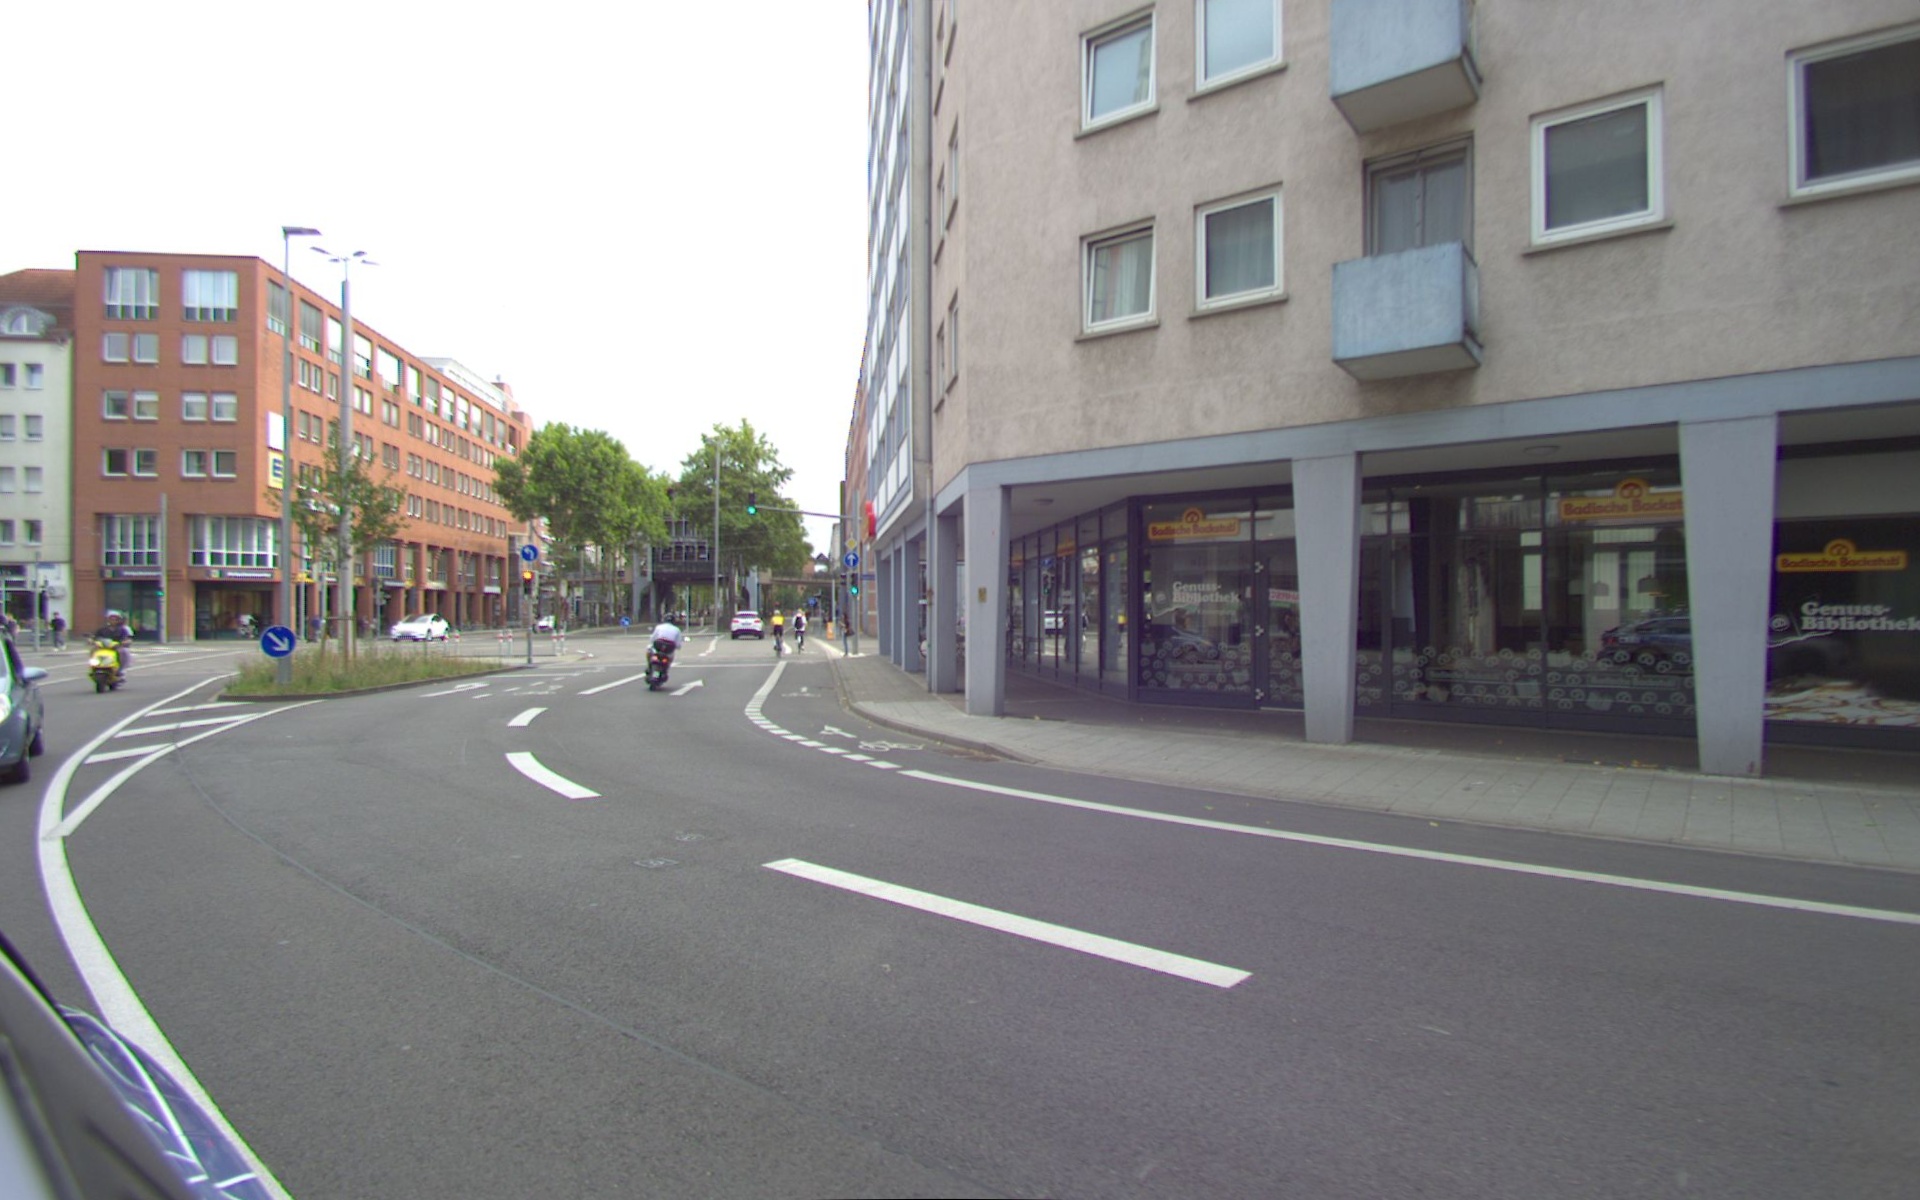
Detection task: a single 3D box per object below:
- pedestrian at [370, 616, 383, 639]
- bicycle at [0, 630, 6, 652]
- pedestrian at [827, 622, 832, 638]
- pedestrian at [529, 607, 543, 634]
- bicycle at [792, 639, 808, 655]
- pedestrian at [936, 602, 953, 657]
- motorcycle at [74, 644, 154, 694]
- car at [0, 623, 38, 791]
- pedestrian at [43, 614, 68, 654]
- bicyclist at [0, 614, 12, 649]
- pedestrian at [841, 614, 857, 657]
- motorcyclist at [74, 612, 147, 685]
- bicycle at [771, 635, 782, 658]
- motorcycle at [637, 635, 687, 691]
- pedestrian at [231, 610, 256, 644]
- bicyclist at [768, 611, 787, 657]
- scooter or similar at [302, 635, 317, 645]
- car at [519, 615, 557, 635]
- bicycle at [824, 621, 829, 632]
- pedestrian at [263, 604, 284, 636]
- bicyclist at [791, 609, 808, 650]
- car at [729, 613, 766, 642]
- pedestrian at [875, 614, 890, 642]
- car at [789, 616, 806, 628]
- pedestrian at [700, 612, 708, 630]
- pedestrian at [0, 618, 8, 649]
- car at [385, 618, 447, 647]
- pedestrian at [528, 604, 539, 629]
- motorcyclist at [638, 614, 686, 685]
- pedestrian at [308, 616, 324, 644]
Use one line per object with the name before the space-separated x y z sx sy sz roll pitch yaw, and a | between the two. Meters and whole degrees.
pedestrian | -41.872 1.970 72.618 0.402 1.644 0.732 1 -1 0
bicycle | -42.681 1.815 44.789 1.807 0.958 0.535 -1 -2 44
pedestrian | -13.547 3.092 104.821 0.521 1.585 0.602 0 -1 -8
pedestrian | -30.088 1.424 71.851 0.683 1.889 0.808 0 -1 -7
bicycle | -6.426 1.877 40.751 0.478 0.593 2.000 0 -1 -5
pedestrian | -0.495 0.968 33.099 0.470 1.778 0.590 0 -2 -8
motorcycle | -18.322 1.466 21.966 0.561 0.975 2.020 0 -1 -17
car | -10.132 0.980 9.710 1.698 1.413 4.006 -3 1 -40
pedestrian | -41.422 1.560 46.359 0.560 1.838 0.697 0 -2 -8
bicyclist | -42.506 1.388 44.810 0.946 1.570 0.735 -2 -2 44
pedestrian | -4.034 1.278 36.699 0.492 1.571 0.519 0 -1 -15
motorcyclist | -18.336 1.037 21.873 0.857 1.528 1.047 0 -1 -18
bicycle | -6.862 1.711 37.831 0.403 0.801 2.002 0 -1 -11
motorcycle | -6.317 1.309 21.407 0.711 1.103 2.043 2 -2 -24
pedestrian | -43.970 1.651 62.109 1.044 2.029 0.985 -3 -1 41
bicyclist | -6.785 1.255 37.677 0.702 1.662 0.973 0 -1 -9
scooter or similar | -39.590 2.461 61.604 0.500 0.578 0.818 0 -1 -15
car | -34.879 2.026 83.776 1.928 1.613 4.006 0 -1 -7
bicycle | -13.844 2.784 105.003 0.539 1.126 1.592 0 -1 -7
pedestrian | -44.396 1.263 65.418 0.803 2.029 0.799 -2 0 -10
bicyclist | -6.458 1.178 40.844 0.600 1.658 1.038 0 -1 -5
car | -12.888 1.662 61.585 1.810 1.672 4.330 0 -1 -6
pedestrian | -4.179 1.505 54.593 0.786 1.484 0.685 0 -1 -7
car | -28.396 3.833 176.670 2.468 1.962 5.105 0 -1 -13
pedestrian | -21.575 1.767 85.185 0.648 1.549 0.560 0 1 -12
pedestrian | -52.770 1.830 55.459 0.718 1.660 0.700 -2 -2 30
car | -31.904 1.902 59.450 1.928 1.613 4.006 0 -1 -7
pedestrian | -31.130 1.183 73.826 0.530 1.805 0.575 -1 -1 13
motorcyclist | -6.311 1.038 21.412 0.785 1.471 0.868 2 -2 -26
pedestrian | -39.748 1.858 62.431 0.630 1.700 0.601 0 -1 -8
